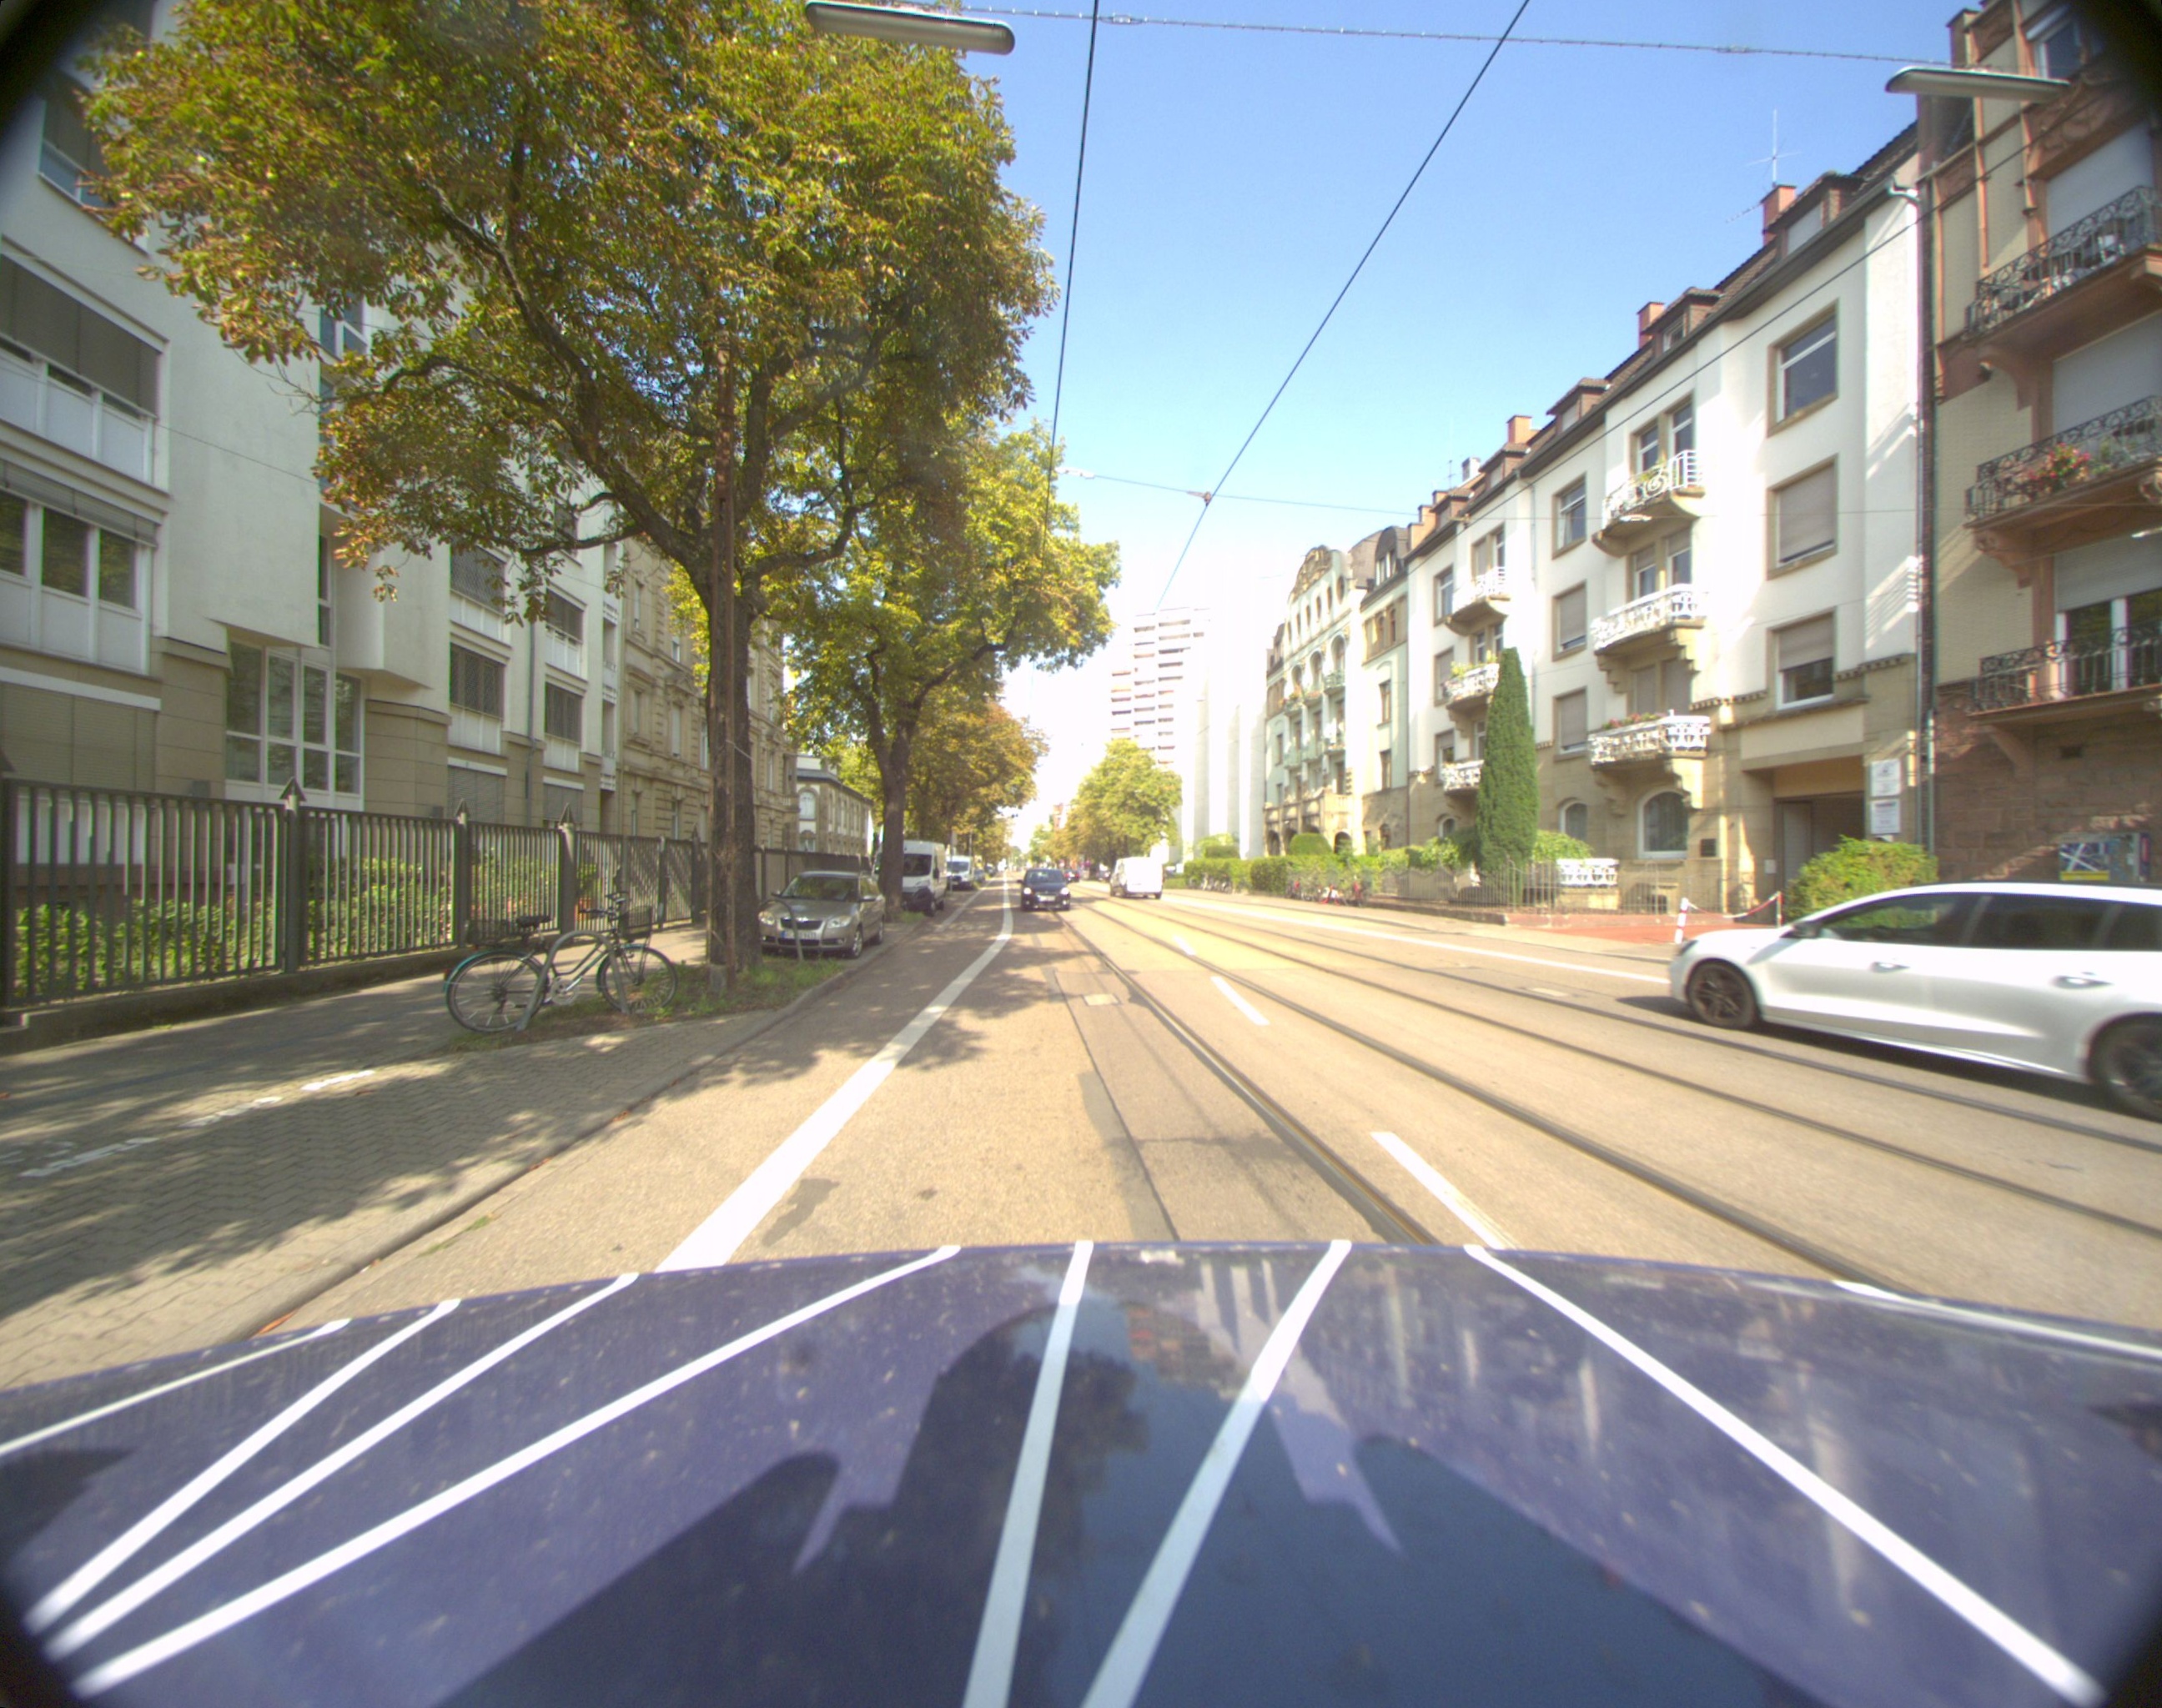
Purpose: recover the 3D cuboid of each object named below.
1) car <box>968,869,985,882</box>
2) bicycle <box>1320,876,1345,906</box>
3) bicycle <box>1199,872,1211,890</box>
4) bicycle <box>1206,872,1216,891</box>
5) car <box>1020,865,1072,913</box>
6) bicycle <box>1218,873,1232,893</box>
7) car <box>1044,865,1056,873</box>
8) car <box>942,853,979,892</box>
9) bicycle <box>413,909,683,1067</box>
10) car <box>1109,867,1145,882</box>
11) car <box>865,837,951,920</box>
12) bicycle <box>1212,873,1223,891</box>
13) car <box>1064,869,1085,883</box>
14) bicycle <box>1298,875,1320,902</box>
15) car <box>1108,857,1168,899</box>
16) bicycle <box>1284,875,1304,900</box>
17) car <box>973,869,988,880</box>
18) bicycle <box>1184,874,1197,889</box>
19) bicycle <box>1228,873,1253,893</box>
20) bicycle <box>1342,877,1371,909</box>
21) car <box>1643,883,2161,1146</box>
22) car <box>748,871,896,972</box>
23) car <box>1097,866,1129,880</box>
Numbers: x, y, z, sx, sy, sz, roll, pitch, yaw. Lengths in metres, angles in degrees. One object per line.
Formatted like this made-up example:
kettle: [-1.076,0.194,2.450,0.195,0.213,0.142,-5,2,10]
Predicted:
car: [-11.123,2.277,81.199,1.758,1.349,3.786,0,-1,-7]
bicycle: [9.598,1.403,28.993,0.371,1.081,1.354,0,-1,-6]
bicycle: [7.884,1.698,48.370,0.425,1.081,1.676,0,-1,-3]
bicycle: [7.950,1.671,46.358,0.425,1.081,1.677,0,-1,4]
car: [-1.317,1.188,27.150,1.611,1.515,4.355,-1,-1,-5]
bicycle: [8.222,1.655,43.465,0.425,1.081,1.676,0,-1,-1]
car: [-4.976,2.362,120.161,1.758,1.349,3.787,0,-1,-4]
car: [-8.352,1.259,53.001,1.999,2.526,5.866,2,-1,-5]
bicycle: [-4.656,1.108,6.753,0.503,1.159,1.847,8,3,45]
car: [4.733,2.067,77.249,1.767,1.518,4.009,0,-1,36]
car: [-5.771,0.796,26.157,2.052,2.483,6.226,1,-1,-5]
bicycle: [8.176,1.671,45.566,0.425,1.081,1.677,0,-1,4]
car: [-0.737,2.335,81.374,1.702,1.394,4.644,-1,0,-6]
bicycle: [9.509,1.439,31.754,0.371,1.081,1.354,0,-1,-6]
car: [2.783,1.159,38.321,2.000,2.001,4.856,0,-1,-8]
bicycle: [9.394,1.475,33.521,0.371,1.081,1.354,0,-1,-6]
car: [-12.486,2.494,94.720,1.758,1.349,3.786,0,-1,-7]
bicycle: [7.454,1.840,51.675,0.426,0.972,1.769,0,-1,-6]
bicycle: [8.934,1.611,42.523,1.398,1.081,0.425,1,0,-23]
bicycle: [9.852,1.385,27.235,0.371,1.081,1.487,0,-1,-6]
car: [7.056,1.035,5.696,1.878,1.446,4.542,3,-1,-8]
car: [-4.708,1.151,14.468,1.611,1.515,4.355,3,-1,-5]
car: [3.666,2.162,86.035,1.767,1.518,4.009,0,-1,36]
